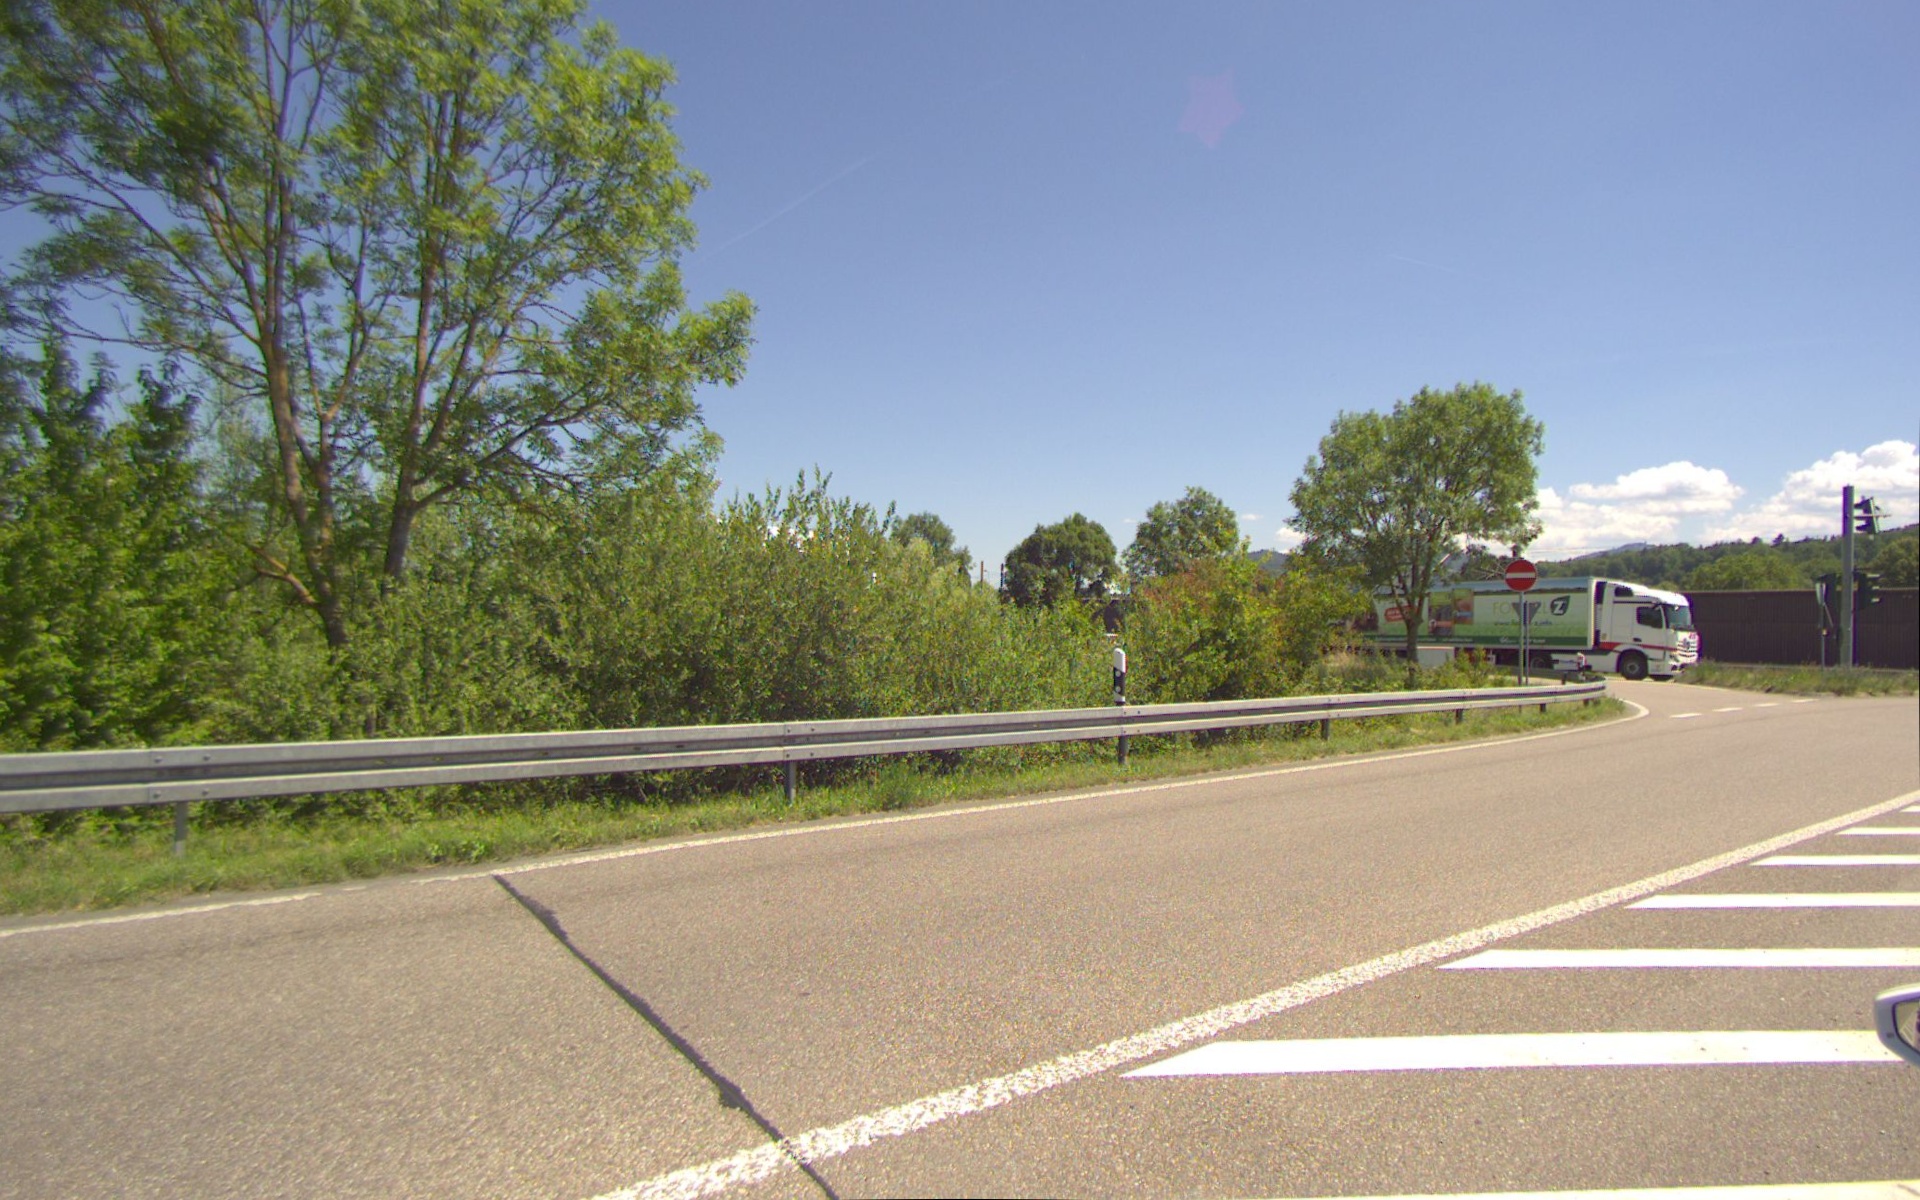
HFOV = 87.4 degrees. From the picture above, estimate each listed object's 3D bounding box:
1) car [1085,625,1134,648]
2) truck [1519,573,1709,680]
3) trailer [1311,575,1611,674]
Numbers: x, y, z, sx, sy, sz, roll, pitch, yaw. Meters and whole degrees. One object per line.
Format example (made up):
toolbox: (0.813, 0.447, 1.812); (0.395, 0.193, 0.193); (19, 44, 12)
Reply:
car: (10.352, 2.512, 69.665); (1.537, 1.484, 3.455); (2, -1, -31)
truck: (26.509, 1.042, 40.947); (3.027, 4.007, 5.736); (2, -1, -31)
trailer: (22.813, 1.046, 47.180); (3.027, 4.007, 13.074); (2, -1, -31)
